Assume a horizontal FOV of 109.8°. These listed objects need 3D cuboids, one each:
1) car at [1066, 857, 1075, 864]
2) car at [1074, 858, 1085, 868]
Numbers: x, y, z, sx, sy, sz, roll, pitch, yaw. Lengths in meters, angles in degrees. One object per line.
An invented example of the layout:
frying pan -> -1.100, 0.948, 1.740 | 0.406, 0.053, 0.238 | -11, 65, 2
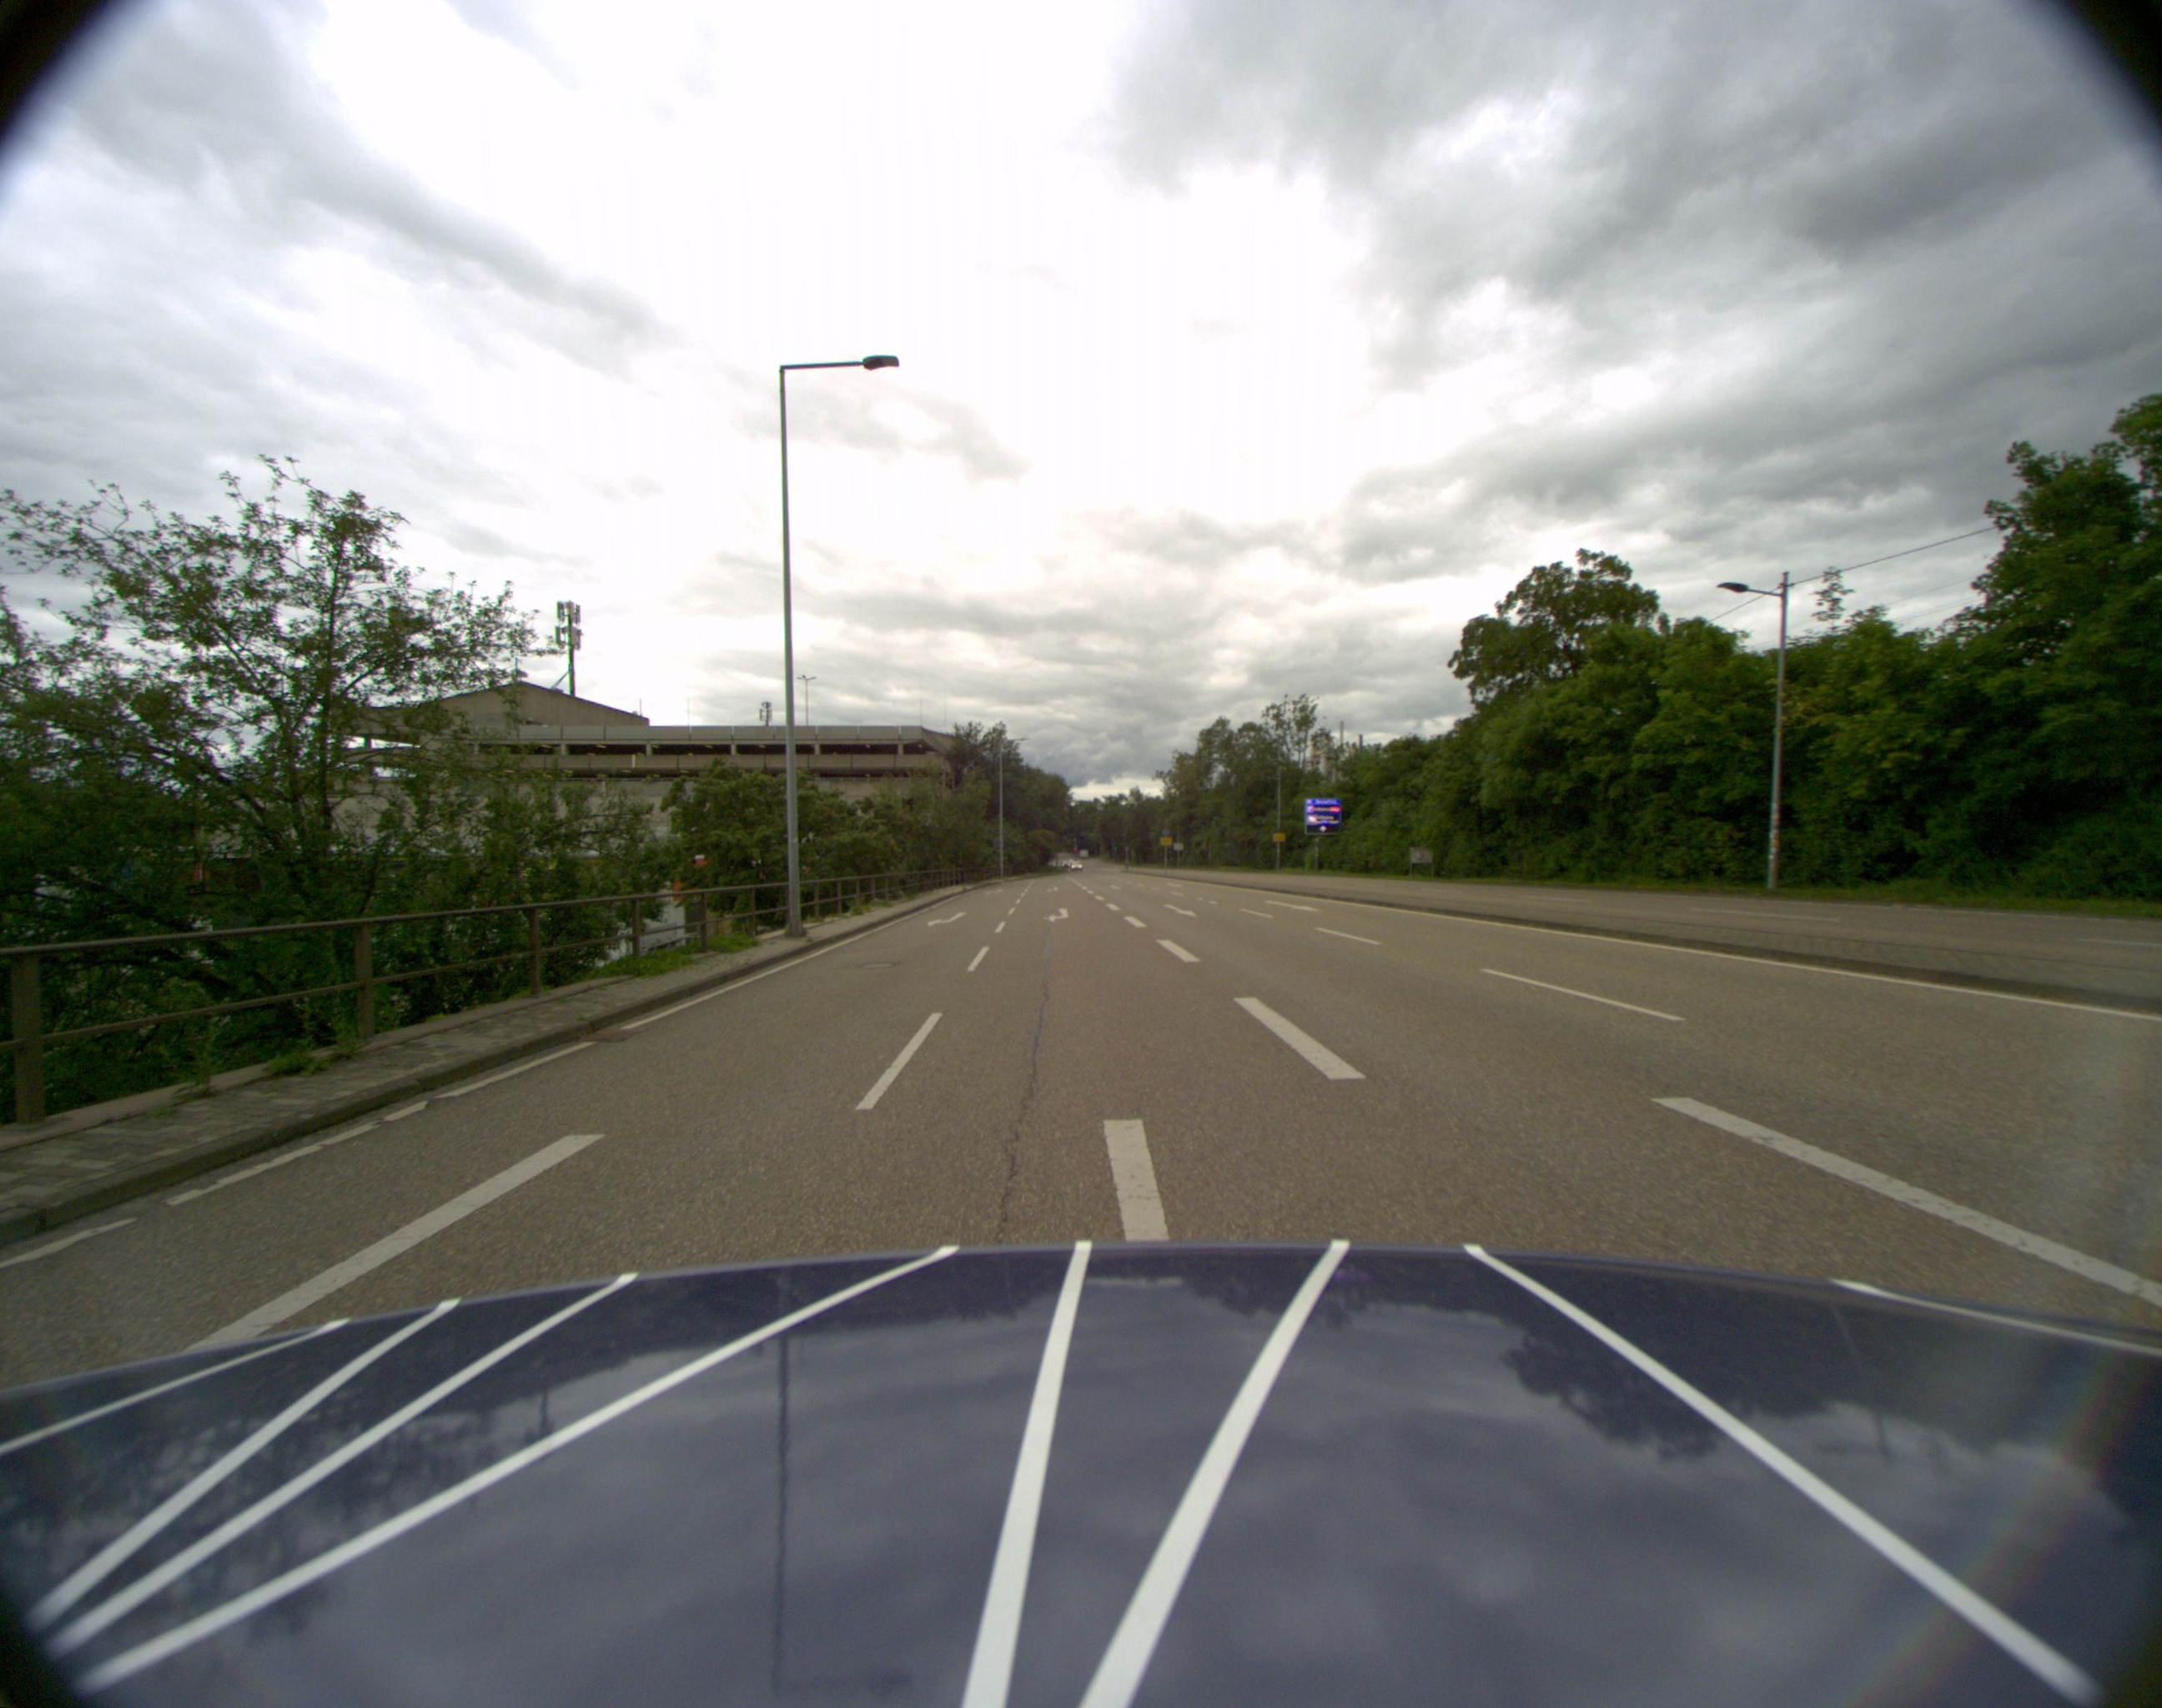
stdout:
car -> -2.190, 1.404, 160.842 | 1.864, 1.408, 4.338 | -2, 0, 1
car -> -0.192, 1.310, 114.405 | 1.609, 1.408, 3.591 | -2, 0, 0
